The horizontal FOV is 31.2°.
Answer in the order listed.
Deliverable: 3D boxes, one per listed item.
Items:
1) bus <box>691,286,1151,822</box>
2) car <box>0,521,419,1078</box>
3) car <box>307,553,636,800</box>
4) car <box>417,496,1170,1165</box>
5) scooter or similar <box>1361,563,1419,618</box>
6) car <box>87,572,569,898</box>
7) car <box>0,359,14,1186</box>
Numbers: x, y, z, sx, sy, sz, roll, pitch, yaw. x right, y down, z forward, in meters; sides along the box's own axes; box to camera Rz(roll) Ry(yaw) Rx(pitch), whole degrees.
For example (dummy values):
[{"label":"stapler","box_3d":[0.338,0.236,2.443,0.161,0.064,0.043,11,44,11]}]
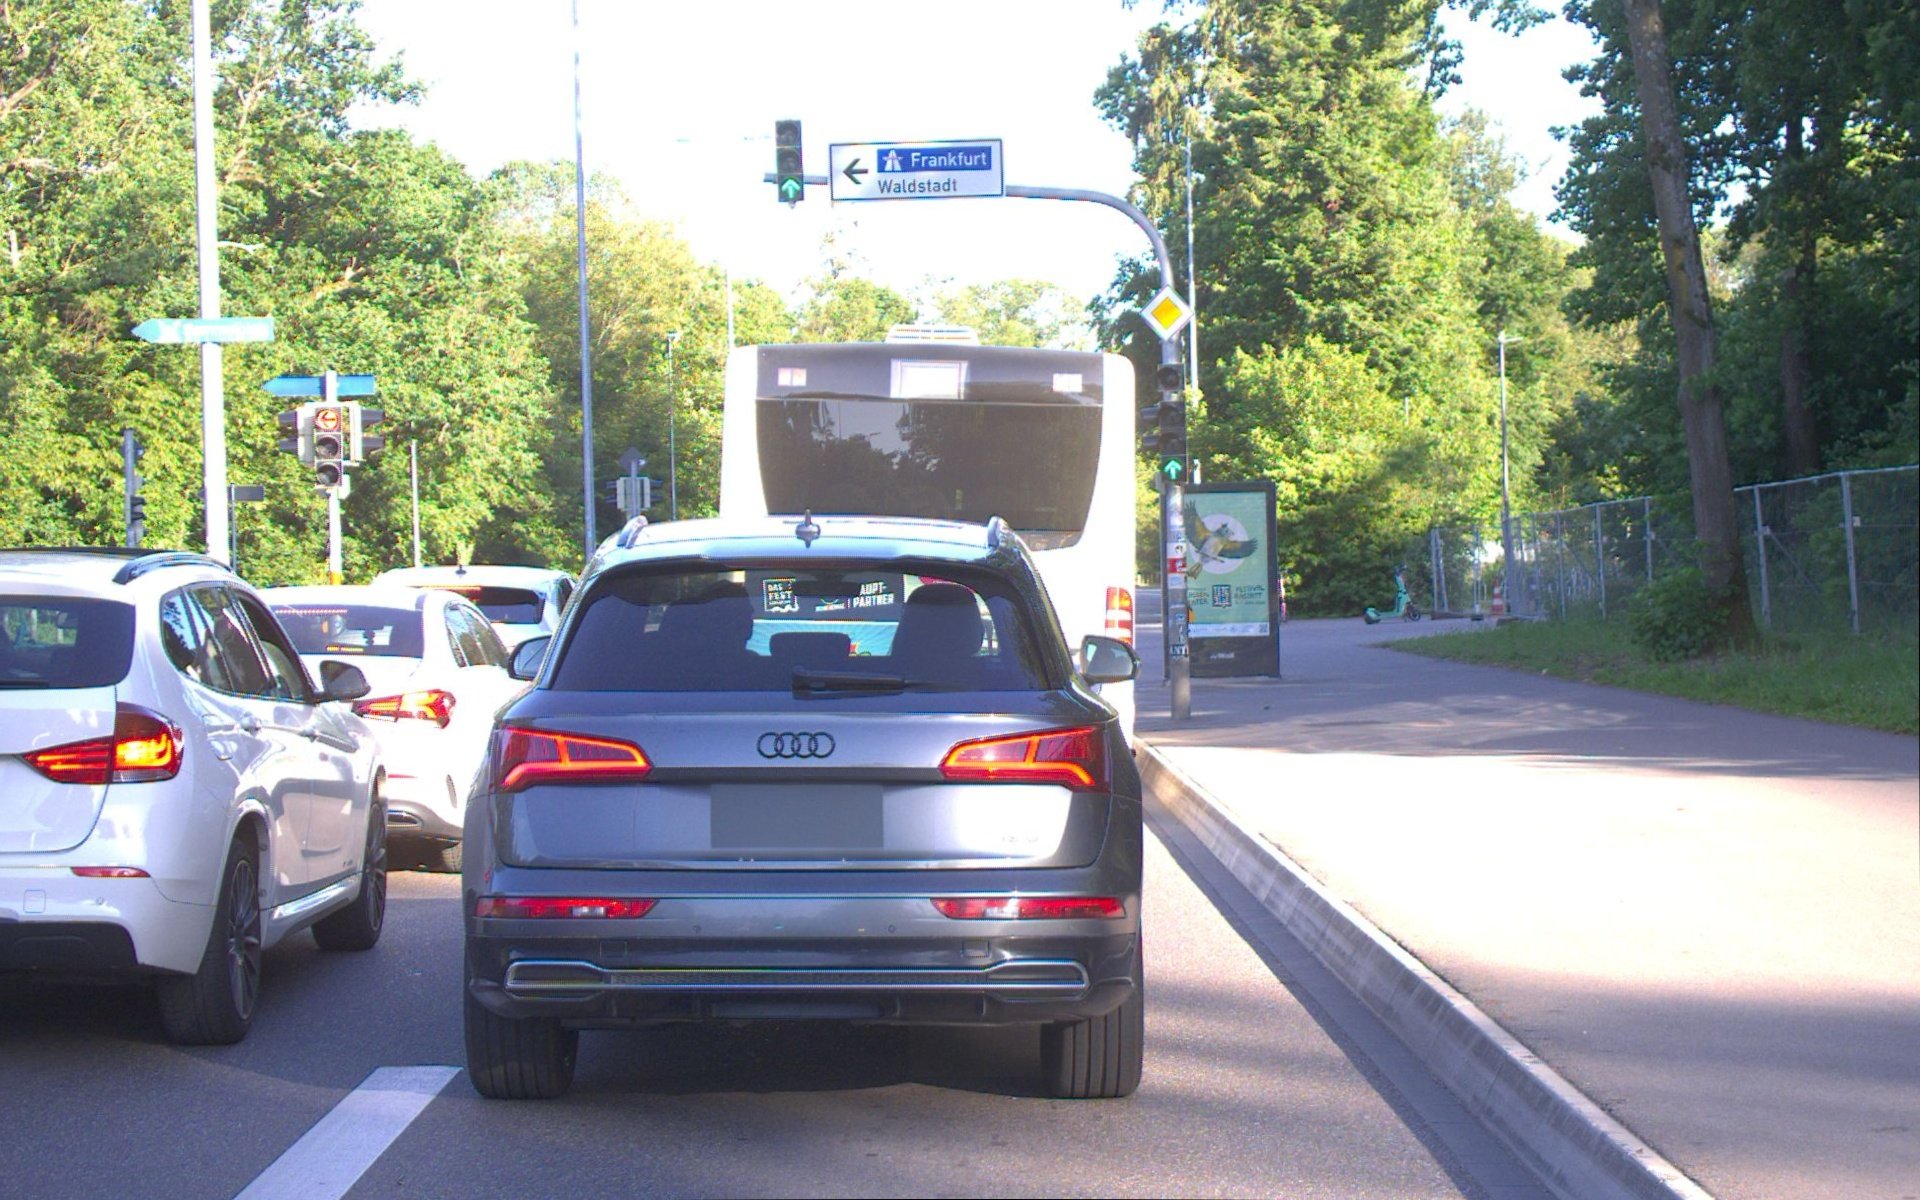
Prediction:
[{"label":"bus","box_3d":[-0.202,-0.332,23.270,2.678,3.131,5.882,1,1,1]},{"label":"car","box_3d":[-3.082,0.571,12.000,1.718,1.575,4.434,1,0,-1]},{"label":"car","box_3d":[-3.398,0.478,24.573,1.808,1.567,4.000,1,1,-1]},{"label":"car","box_3d":[-0.443,0.541,10.649,1.868,1.658,4.000,1,1,-1]},{"label":"scooter or similar","box_3d":[9.338,-0.211,74.679,1.184,1.170,0.659,1,1,11]},{"label":"car","box_3d":[-3.184,0.610,18.128,1.785,1.439,4.278,1,1,-1]},{"label":"car","box_3d":[-3.068,0.428,5.305,1.907,1.849,4.873,1,1,-1]}]
